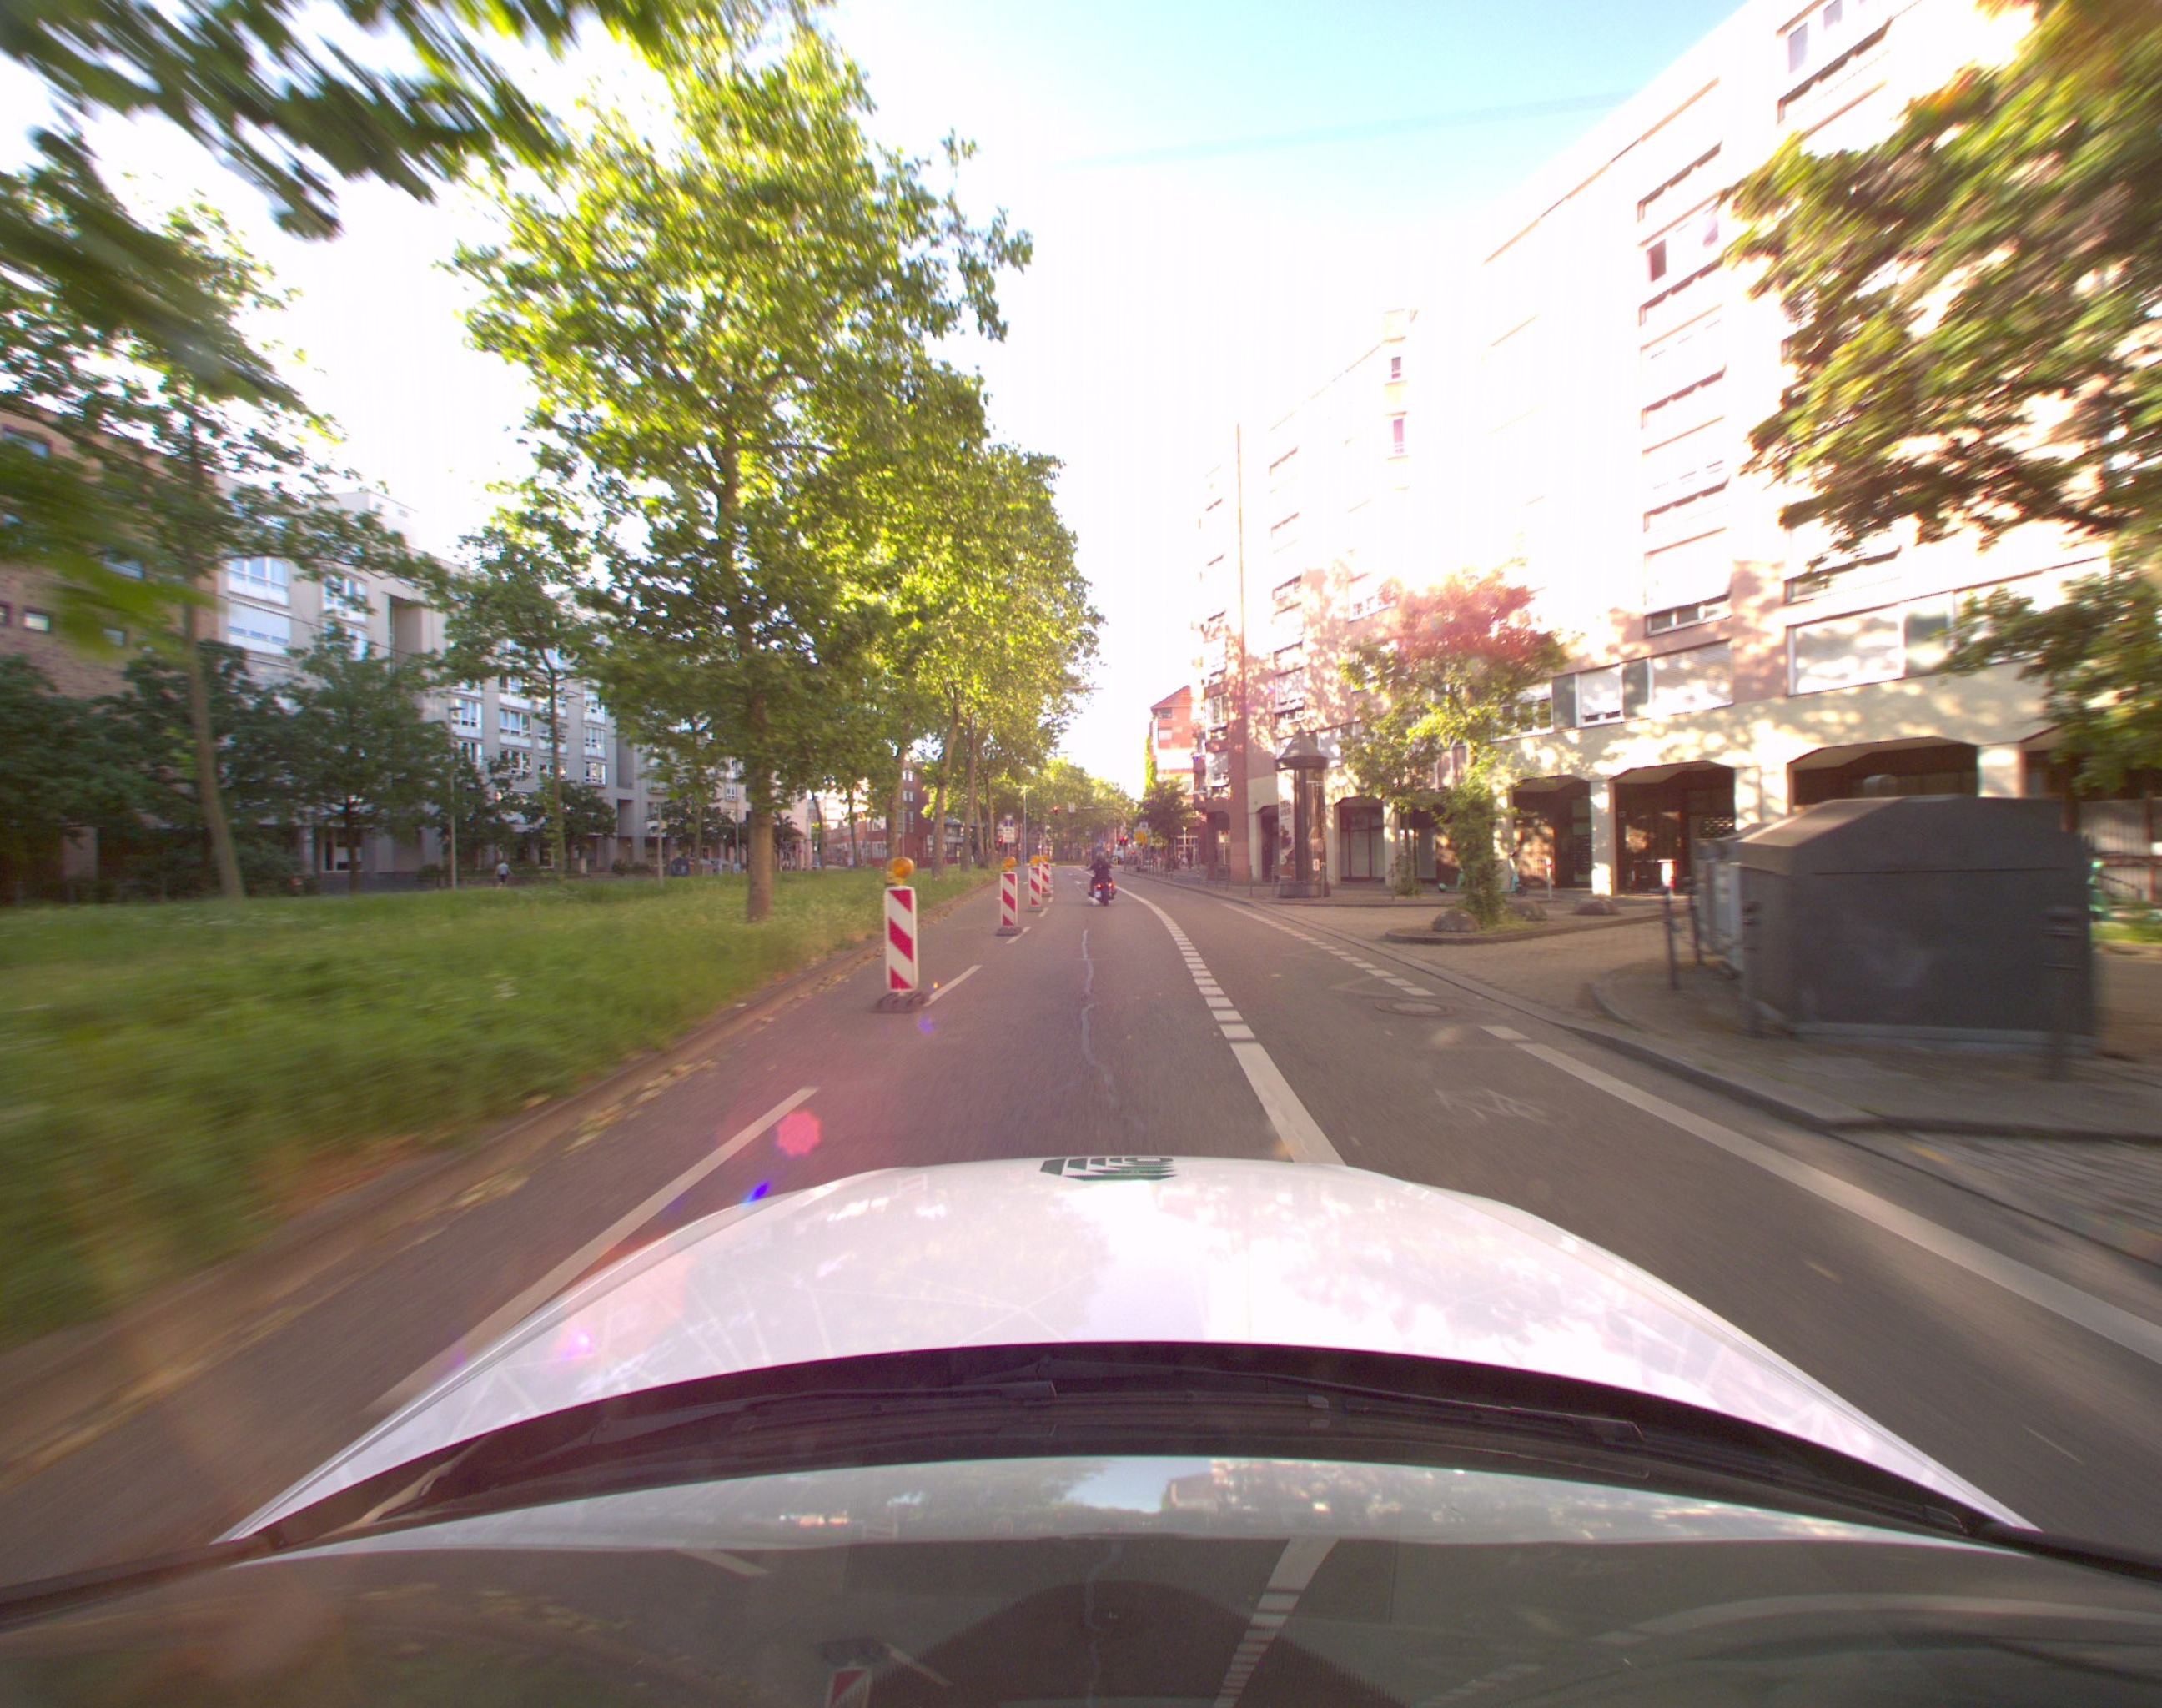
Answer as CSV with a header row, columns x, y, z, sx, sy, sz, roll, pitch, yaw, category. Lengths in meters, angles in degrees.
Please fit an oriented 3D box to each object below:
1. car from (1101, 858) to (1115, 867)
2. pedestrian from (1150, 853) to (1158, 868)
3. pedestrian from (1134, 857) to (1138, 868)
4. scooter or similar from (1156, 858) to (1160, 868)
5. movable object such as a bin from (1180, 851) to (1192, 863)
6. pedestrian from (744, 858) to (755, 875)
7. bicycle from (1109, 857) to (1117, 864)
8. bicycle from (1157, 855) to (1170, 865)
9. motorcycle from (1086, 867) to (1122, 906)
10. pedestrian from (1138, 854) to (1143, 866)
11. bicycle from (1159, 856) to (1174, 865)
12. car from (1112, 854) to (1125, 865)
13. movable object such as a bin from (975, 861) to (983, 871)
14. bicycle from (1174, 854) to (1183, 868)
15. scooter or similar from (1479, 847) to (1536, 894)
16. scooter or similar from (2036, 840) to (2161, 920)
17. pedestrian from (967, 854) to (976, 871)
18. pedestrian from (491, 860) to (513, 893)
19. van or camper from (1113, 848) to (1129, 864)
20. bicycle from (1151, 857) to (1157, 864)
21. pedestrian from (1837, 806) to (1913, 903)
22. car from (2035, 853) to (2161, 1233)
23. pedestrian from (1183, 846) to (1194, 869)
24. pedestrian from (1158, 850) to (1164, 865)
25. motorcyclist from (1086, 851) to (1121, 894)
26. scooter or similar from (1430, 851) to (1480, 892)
x,y,z,sx,sy,sz,roll,pitch,yaw,category
3.963,1.217,119.348,1.611,1.302,4.320,-1,0,7,car
8.447,0.735,94.151,0.784,1.763,0.609,-1,0,-4,pedestrian
8.172,1.220,121.281,0.642,1.578,0.748,-1,0,2,pedestrian
8.918,1.012,94.046,0.392,1.158,1.251,-1,0,4,scooter or similar
13.016,0.367,100.780,1.401,1.482,0.874,-1,0,10,movable object such as a bin
-32.239,1.254,79.225,0.703,1.639,0.790,-1,0,9,pedestrian
4.352,0.883,112.201,0.737,1.053,1.746,-1,0,-11,bicycle
10.466,0.806,103.435,1.560,1.227,0.578,-1,0,4,bicycle
0.672,0.965,24.640,1.014,1.097,2.007,-1,0,0,motorcycle
8.908,0.895,121.177,0.697,1.733,0.768,-1,0,2,pedestrian
11.220,0.864,106.523,1.730,1.053,0.744,-1,0,25,bicycle
5.952,0.903,129.235,1.611,1.619,4.495,-1,0,8,car
-9.530,1.093,76.020,0.507,0.953,0.541,-1,0,11,movable object such as a bin
8.624,0.626,72.155,0.618,1.225,1.932,-1,0,11,bicycle
11.949,0.458,22.859,0.486,1.274,1.440,-1,0,-21,scooter or similar
15.256,0.373,12.082,1.448,1.145,0.559,-1,0,4,scooter or similar
-10.201,0.801,75.766,0.613,1.503,0.537,-1,0,24,pedestrian
-31.234,1.214,43.930,0.726,1.740,0.648,-1,0,2,pedestrian
6.660,0.367,135.578,2.037,2.540,5.786,-1,0,8,van or camper
9.996,0.836,111.484,0.734,0.939,1.753,-1,0,3,bicycle
16.751,0.016,17.202,0.810,1.981,0.851,-1,0,14,pedestrian
5.068,0.735,1.491,1.696,1.483,4.249,-2,0,1,car
8.312,0.283,62.873,0.777,1.738,0.838,-1,0,7,pedestrian
9.304,0.436,94.542,0.459,1.672,0.677,-1,0,-10,pedestrian
0.682,0.563,24.777,1.008,1.263,0.774,1,0,0,motorcyclist
11.471,0.512,25.031,0.486,1.216,1.440,-1,0,-21,scooter or similar
